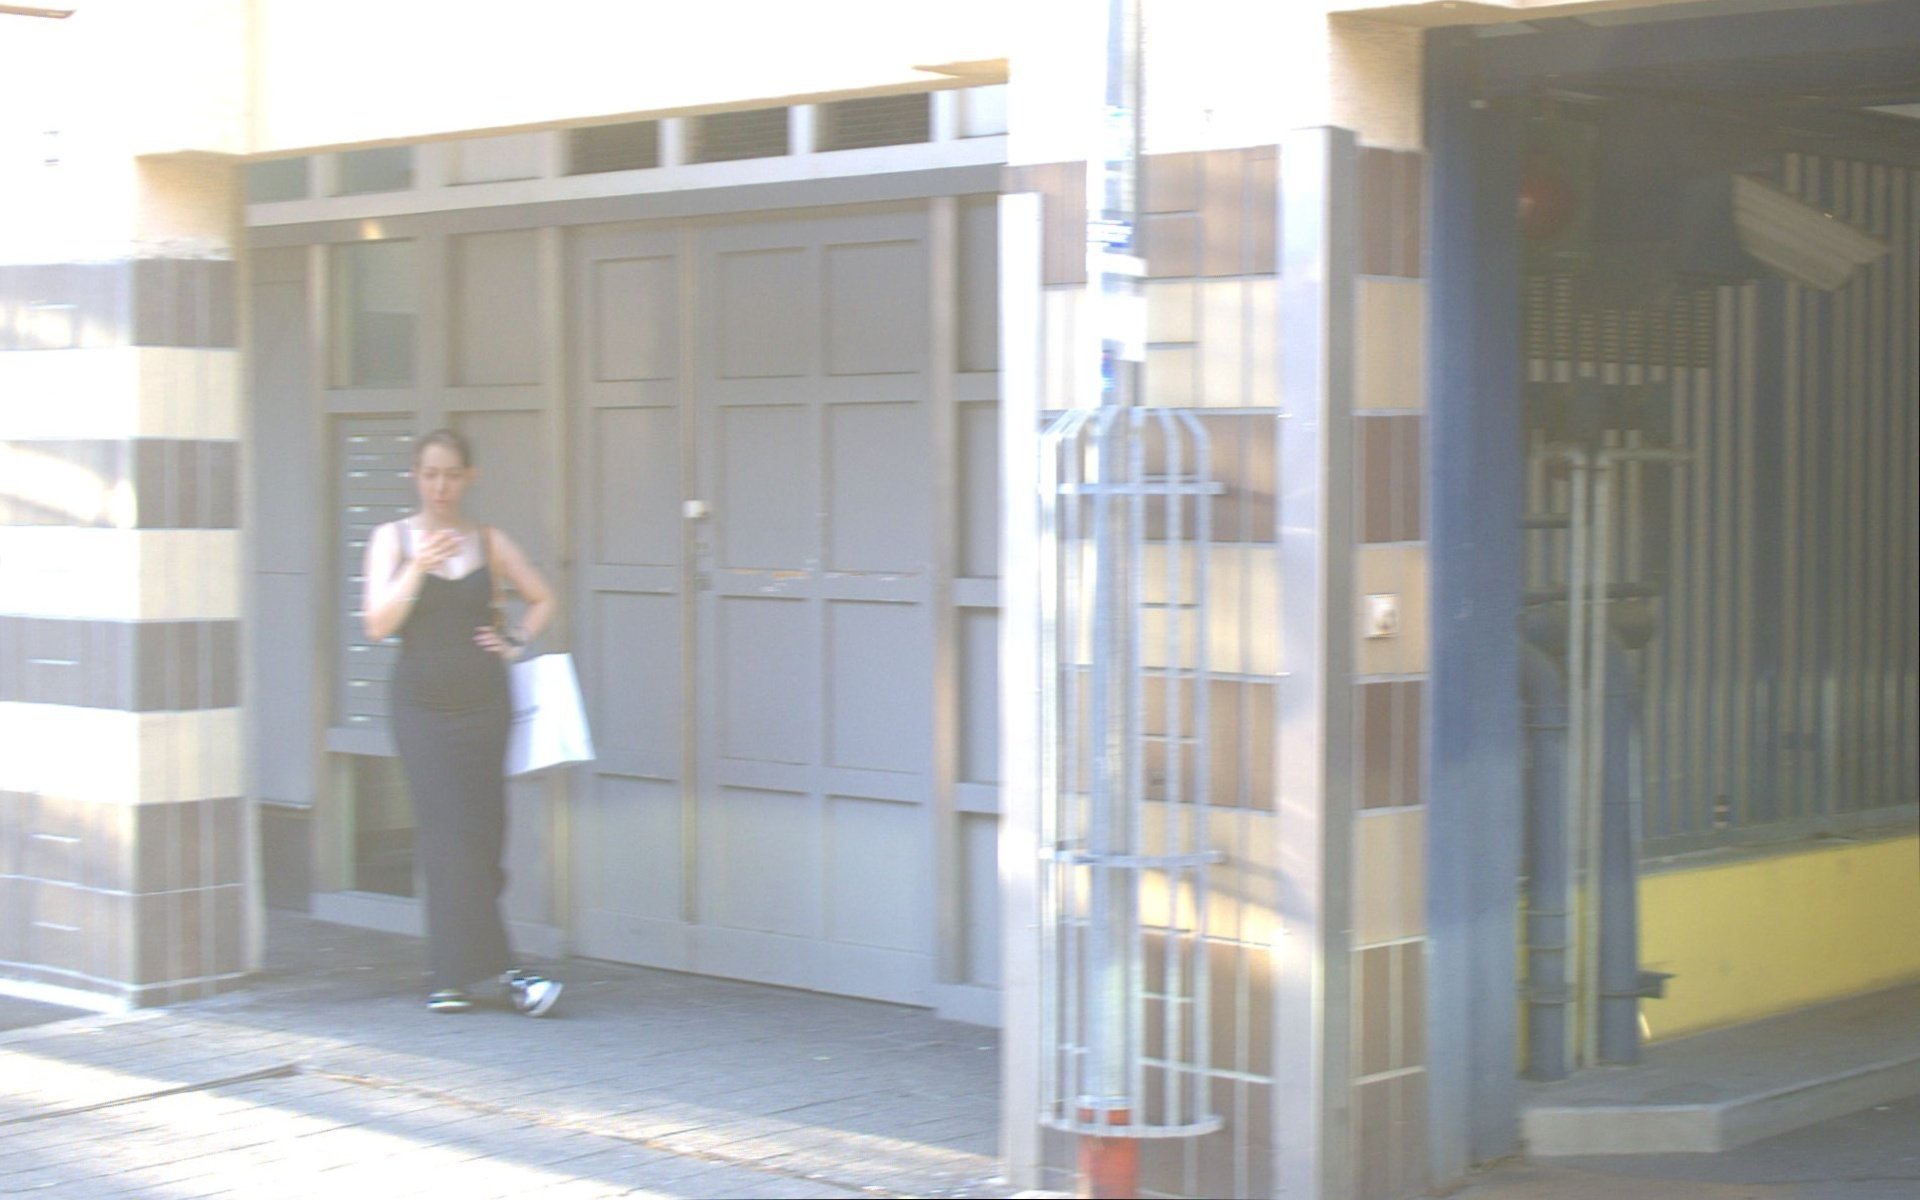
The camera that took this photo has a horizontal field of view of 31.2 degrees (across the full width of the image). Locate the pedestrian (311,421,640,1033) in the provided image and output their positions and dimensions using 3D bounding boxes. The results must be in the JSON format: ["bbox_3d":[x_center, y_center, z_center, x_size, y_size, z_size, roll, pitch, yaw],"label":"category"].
[{"bbox_3d":[-1.298,0.312,9.164,0.776,1.567,0.534,0,2,-19],"label":"pedestrian"}]
